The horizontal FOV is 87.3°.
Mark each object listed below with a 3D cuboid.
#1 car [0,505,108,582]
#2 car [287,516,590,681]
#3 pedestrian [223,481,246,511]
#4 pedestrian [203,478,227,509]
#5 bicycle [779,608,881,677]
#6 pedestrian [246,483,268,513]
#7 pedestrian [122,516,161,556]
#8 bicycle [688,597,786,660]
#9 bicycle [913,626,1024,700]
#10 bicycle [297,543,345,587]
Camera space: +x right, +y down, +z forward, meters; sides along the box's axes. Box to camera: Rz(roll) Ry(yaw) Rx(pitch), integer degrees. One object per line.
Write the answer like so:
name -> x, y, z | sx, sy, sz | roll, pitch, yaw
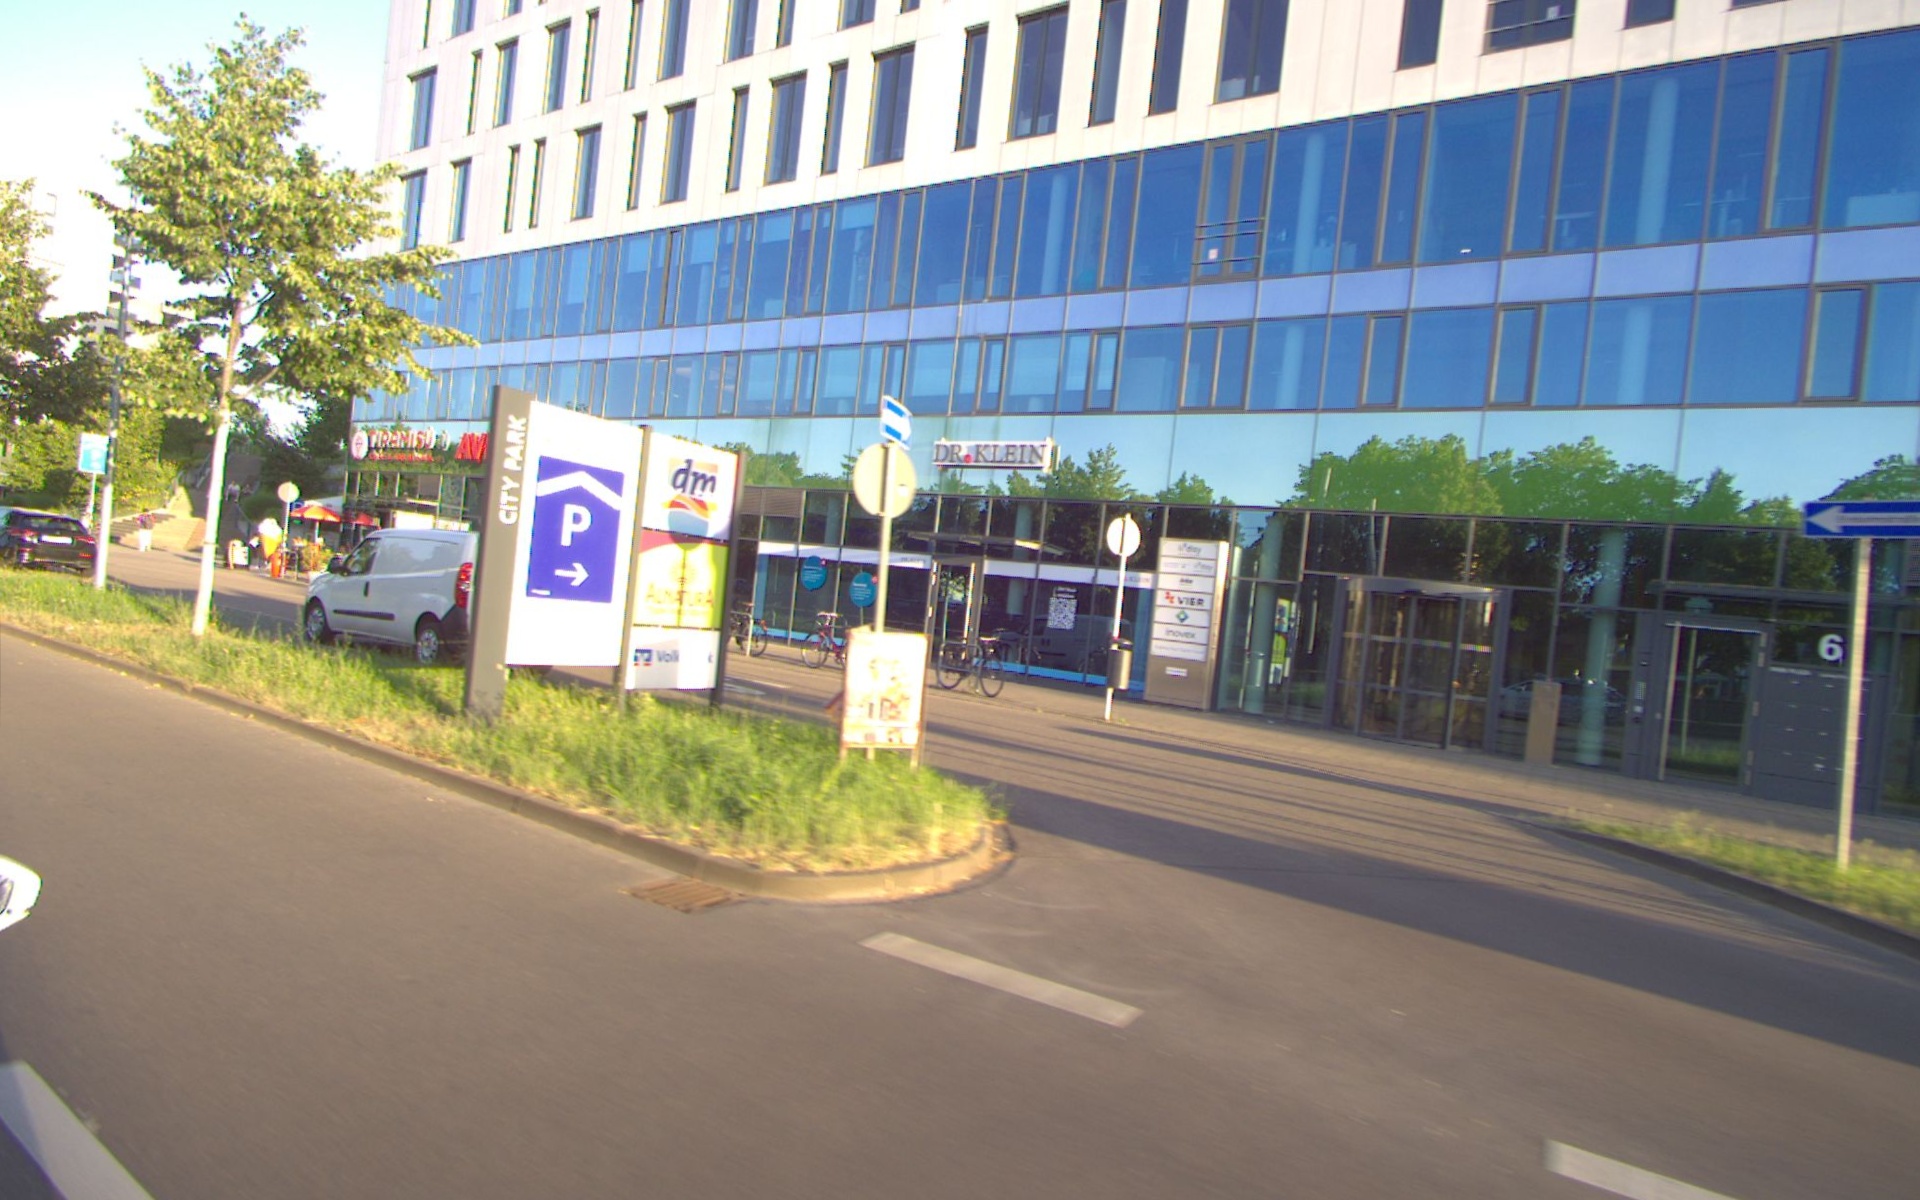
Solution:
car -> -22.143, -1.421, 23.682 | 4.386, 1.452, 1.828 | 6, -2, 32
car -> -7.593, -0.054, 14.534 | 4.324, 1.849, 1.854 | 6, -2, 33
pedestrian -> -38.382, -5.500, 53.230 | 0.806, 1.474, 1.103 | 4, 1, -32
pedestrian -> -39.172, -5.574, 52.910 | 0.806, 1.474, 1.103 | 4, 1, -32
bicycle -> -2.516, 0.801, 19.317 | 2.093, 1.081, 0.633 | 6, 0, 42
pedestrian -> -37.468, -5.415, 53.639 | 0.806, 1.474, 1.103 | 4, 1, -32
pedestrian -> -33.020, -2.588, 40.572 | 1.038, 1.460, 0.825 | 6, 0, 32
bicycle -> -4.682, 0.587, 21.079 | 2.087, 1.081, 0.635 | 6, 0, 33
bicycle -> 0.121, 1.101, 17.868 | 1.976, 1.081, 0.541 | 6, 0, 39
bicycle -> -19.522, -1.068, 30.730 | 1.609, 1.169, 0.492 | 6, 0, 31
